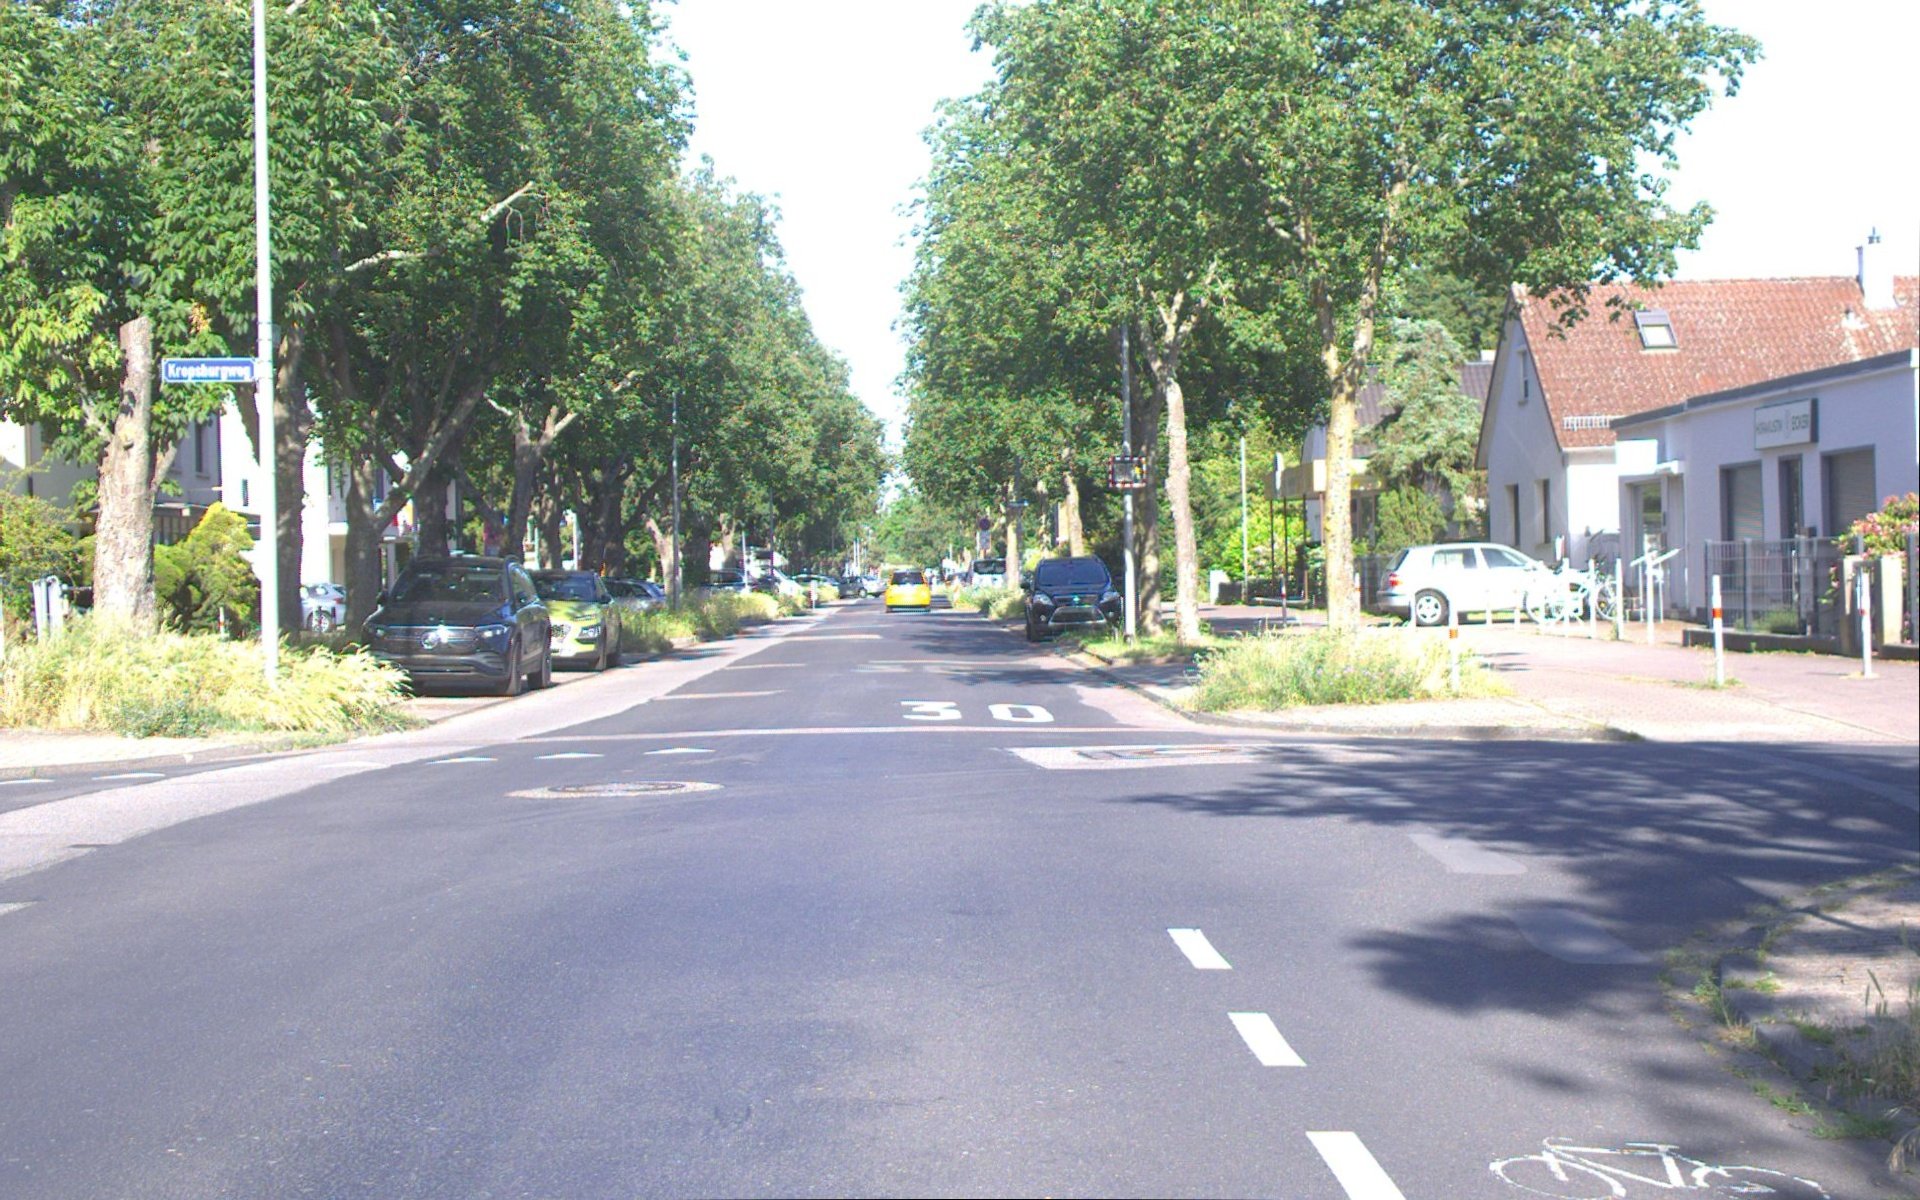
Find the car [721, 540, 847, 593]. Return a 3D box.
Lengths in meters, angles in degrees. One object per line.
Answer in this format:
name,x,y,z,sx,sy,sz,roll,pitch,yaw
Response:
car,-7.750,-1.478,151.780,5.498,2.240,2.517,0,2,-2

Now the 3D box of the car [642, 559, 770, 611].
car,-9.171,-0.547,123.839,4.545,1.759,2.001,0,2,-5

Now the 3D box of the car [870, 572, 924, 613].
car,-2.401,-0.298,130.080,1.887,1.474,3.888,1,0,-3

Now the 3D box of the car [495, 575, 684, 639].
car,-9.265,0.176,86.215,4.554,1.506,1.841,0,2,-1

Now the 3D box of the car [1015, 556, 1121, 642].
car,2.157,-0.009,69.679,1.853,1.620,4.470,-2,0,-1

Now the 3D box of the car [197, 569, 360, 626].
car,-20.321,-0.078,102.684,4.554,1.612,2.001,0,2,-4

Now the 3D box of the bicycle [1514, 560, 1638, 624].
bicycle,10.451,-0.138,58.382,1.958,0.995,0.576,-3,2,-2

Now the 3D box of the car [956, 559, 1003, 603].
car,0.806,-0.781,142.757,1.902,1.768,4.301,0,0,0

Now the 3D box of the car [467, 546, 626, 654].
car,-6.425,0.013,53.864,1.939,1.603,4.383,0,0,0

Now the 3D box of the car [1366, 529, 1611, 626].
car,9.401,-0.418,61.386,3.987,1.483,1.902,-3,2,-2

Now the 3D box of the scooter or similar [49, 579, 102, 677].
scooter or similar,-9.242,0.288,35.943,0.335,0.997,0.998,-2,1,-4

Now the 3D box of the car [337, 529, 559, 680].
car,-6.168,0.066,41.946,1.953,1.721,4.875,0,0,0

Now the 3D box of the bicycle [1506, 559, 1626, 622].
bicycle,10.457,-0.171,59.369,1.923,0.995,0.576,-3,2,-2
